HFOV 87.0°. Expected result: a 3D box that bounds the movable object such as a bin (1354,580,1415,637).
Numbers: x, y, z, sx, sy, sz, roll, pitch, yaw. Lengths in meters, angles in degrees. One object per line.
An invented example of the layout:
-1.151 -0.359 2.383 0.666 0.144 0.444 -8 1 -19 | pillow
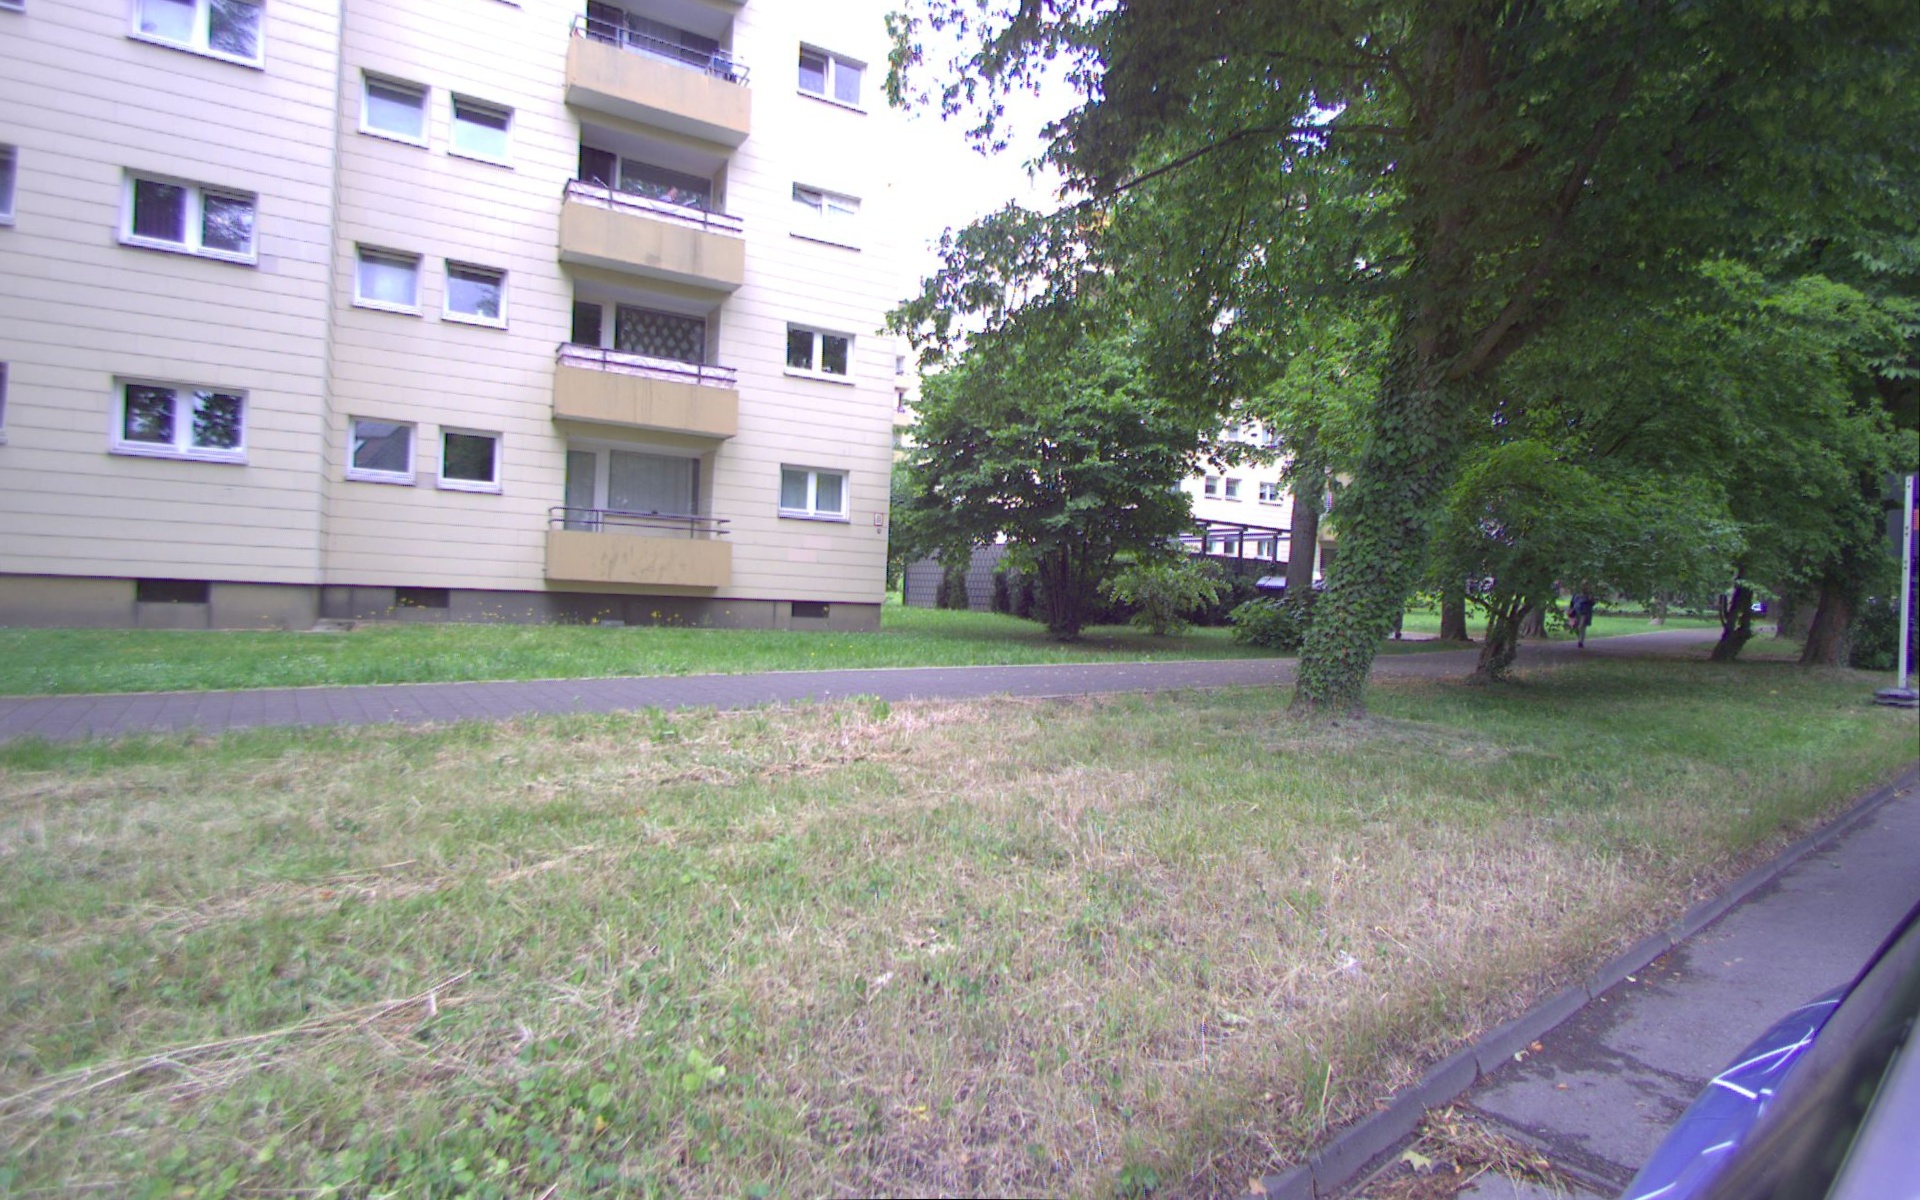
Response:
11.356 0.211 27.070 1.190 1.431 1.094 3 2 41 | movable object such as a bin

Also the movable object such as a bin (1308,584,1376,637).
9.667 0.249 25.578 1.190 1.236 1.328 3 2 41 | movable object such as a bin

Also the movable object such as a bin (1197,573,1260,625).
7.415 -0.026 27.922 1.190 1.358 1.328 3 2 41 | movable object such as a bin

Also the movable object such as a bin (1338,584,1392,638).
10.555 0.271 26.352 1.022 1.320 0.946 3 2 41 | movable object such as a bin

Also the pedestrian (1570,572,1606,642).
16.068 0.173 25.899 0.560 1.761 0.565 1 2 -41 | pedestrian

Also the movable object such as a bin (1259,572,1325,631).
8.678 0.033 26.450 1.190 1.475 1.328 3 2 41 | movable object such as a bin
